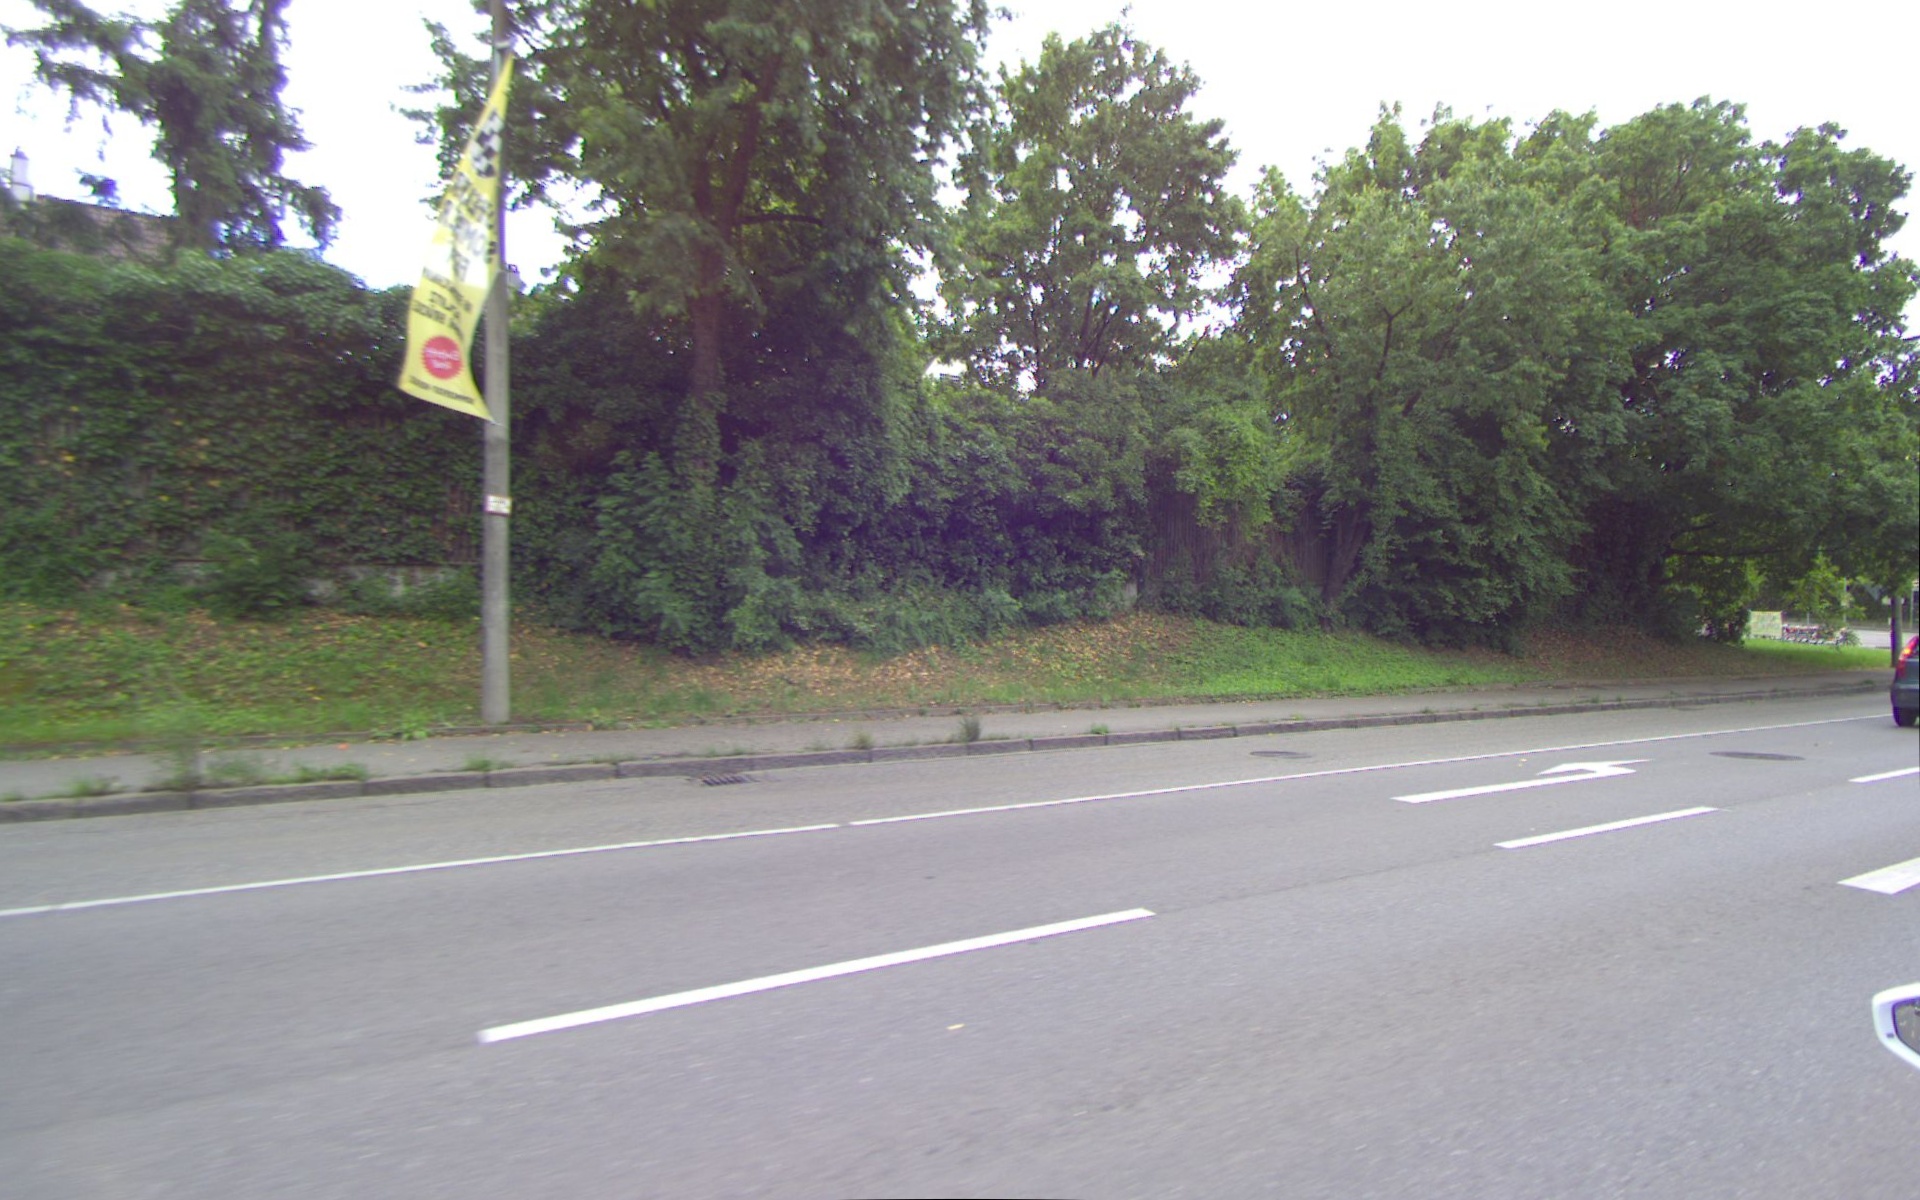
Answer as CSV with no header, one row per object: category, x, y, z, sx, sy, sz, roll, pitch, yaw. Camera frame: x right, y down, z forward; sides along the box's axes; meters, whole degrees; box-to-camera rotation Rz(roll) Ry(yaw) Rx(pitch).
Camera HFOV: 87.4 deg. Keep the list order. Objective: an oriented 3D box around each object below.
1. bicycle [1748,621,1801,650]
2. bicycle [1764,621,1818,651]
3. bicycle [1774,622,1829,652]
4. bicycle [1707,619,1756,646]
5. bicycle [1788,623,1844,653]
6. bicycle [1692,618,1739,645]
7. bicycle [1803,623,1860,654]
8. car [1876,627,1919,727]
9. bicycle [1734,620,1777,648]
bicycle,38.844,1.676,47.923,1.896,1.269,0.546,2,1,7
bicycle,38.860,1.689,46.994,1.896,1.269,0.546,2,1,7
bicycle,38.609,1.691,46.116,1.896,1.269,0.546,2,1,7
bicycle,38.568,1.634,50.218,1.897,1.269,0.546,2,1,2
bicycle,38.667,1.703,45.373,1.896,1.269,0.546,2,1,7
bicycle,38.432,1.616,51.103,1.897,1.269,0.546,2,1,2
bicycle,38.735,1.716,44.671,1.896,1.269,0.546,2,1,7
car,16.116,1.179,15.662,3.882,1.487,1.585,1,-2,-30
bicycle,38.719,1.657,48.908,1.903,1.269,0.544,2,1,-14
